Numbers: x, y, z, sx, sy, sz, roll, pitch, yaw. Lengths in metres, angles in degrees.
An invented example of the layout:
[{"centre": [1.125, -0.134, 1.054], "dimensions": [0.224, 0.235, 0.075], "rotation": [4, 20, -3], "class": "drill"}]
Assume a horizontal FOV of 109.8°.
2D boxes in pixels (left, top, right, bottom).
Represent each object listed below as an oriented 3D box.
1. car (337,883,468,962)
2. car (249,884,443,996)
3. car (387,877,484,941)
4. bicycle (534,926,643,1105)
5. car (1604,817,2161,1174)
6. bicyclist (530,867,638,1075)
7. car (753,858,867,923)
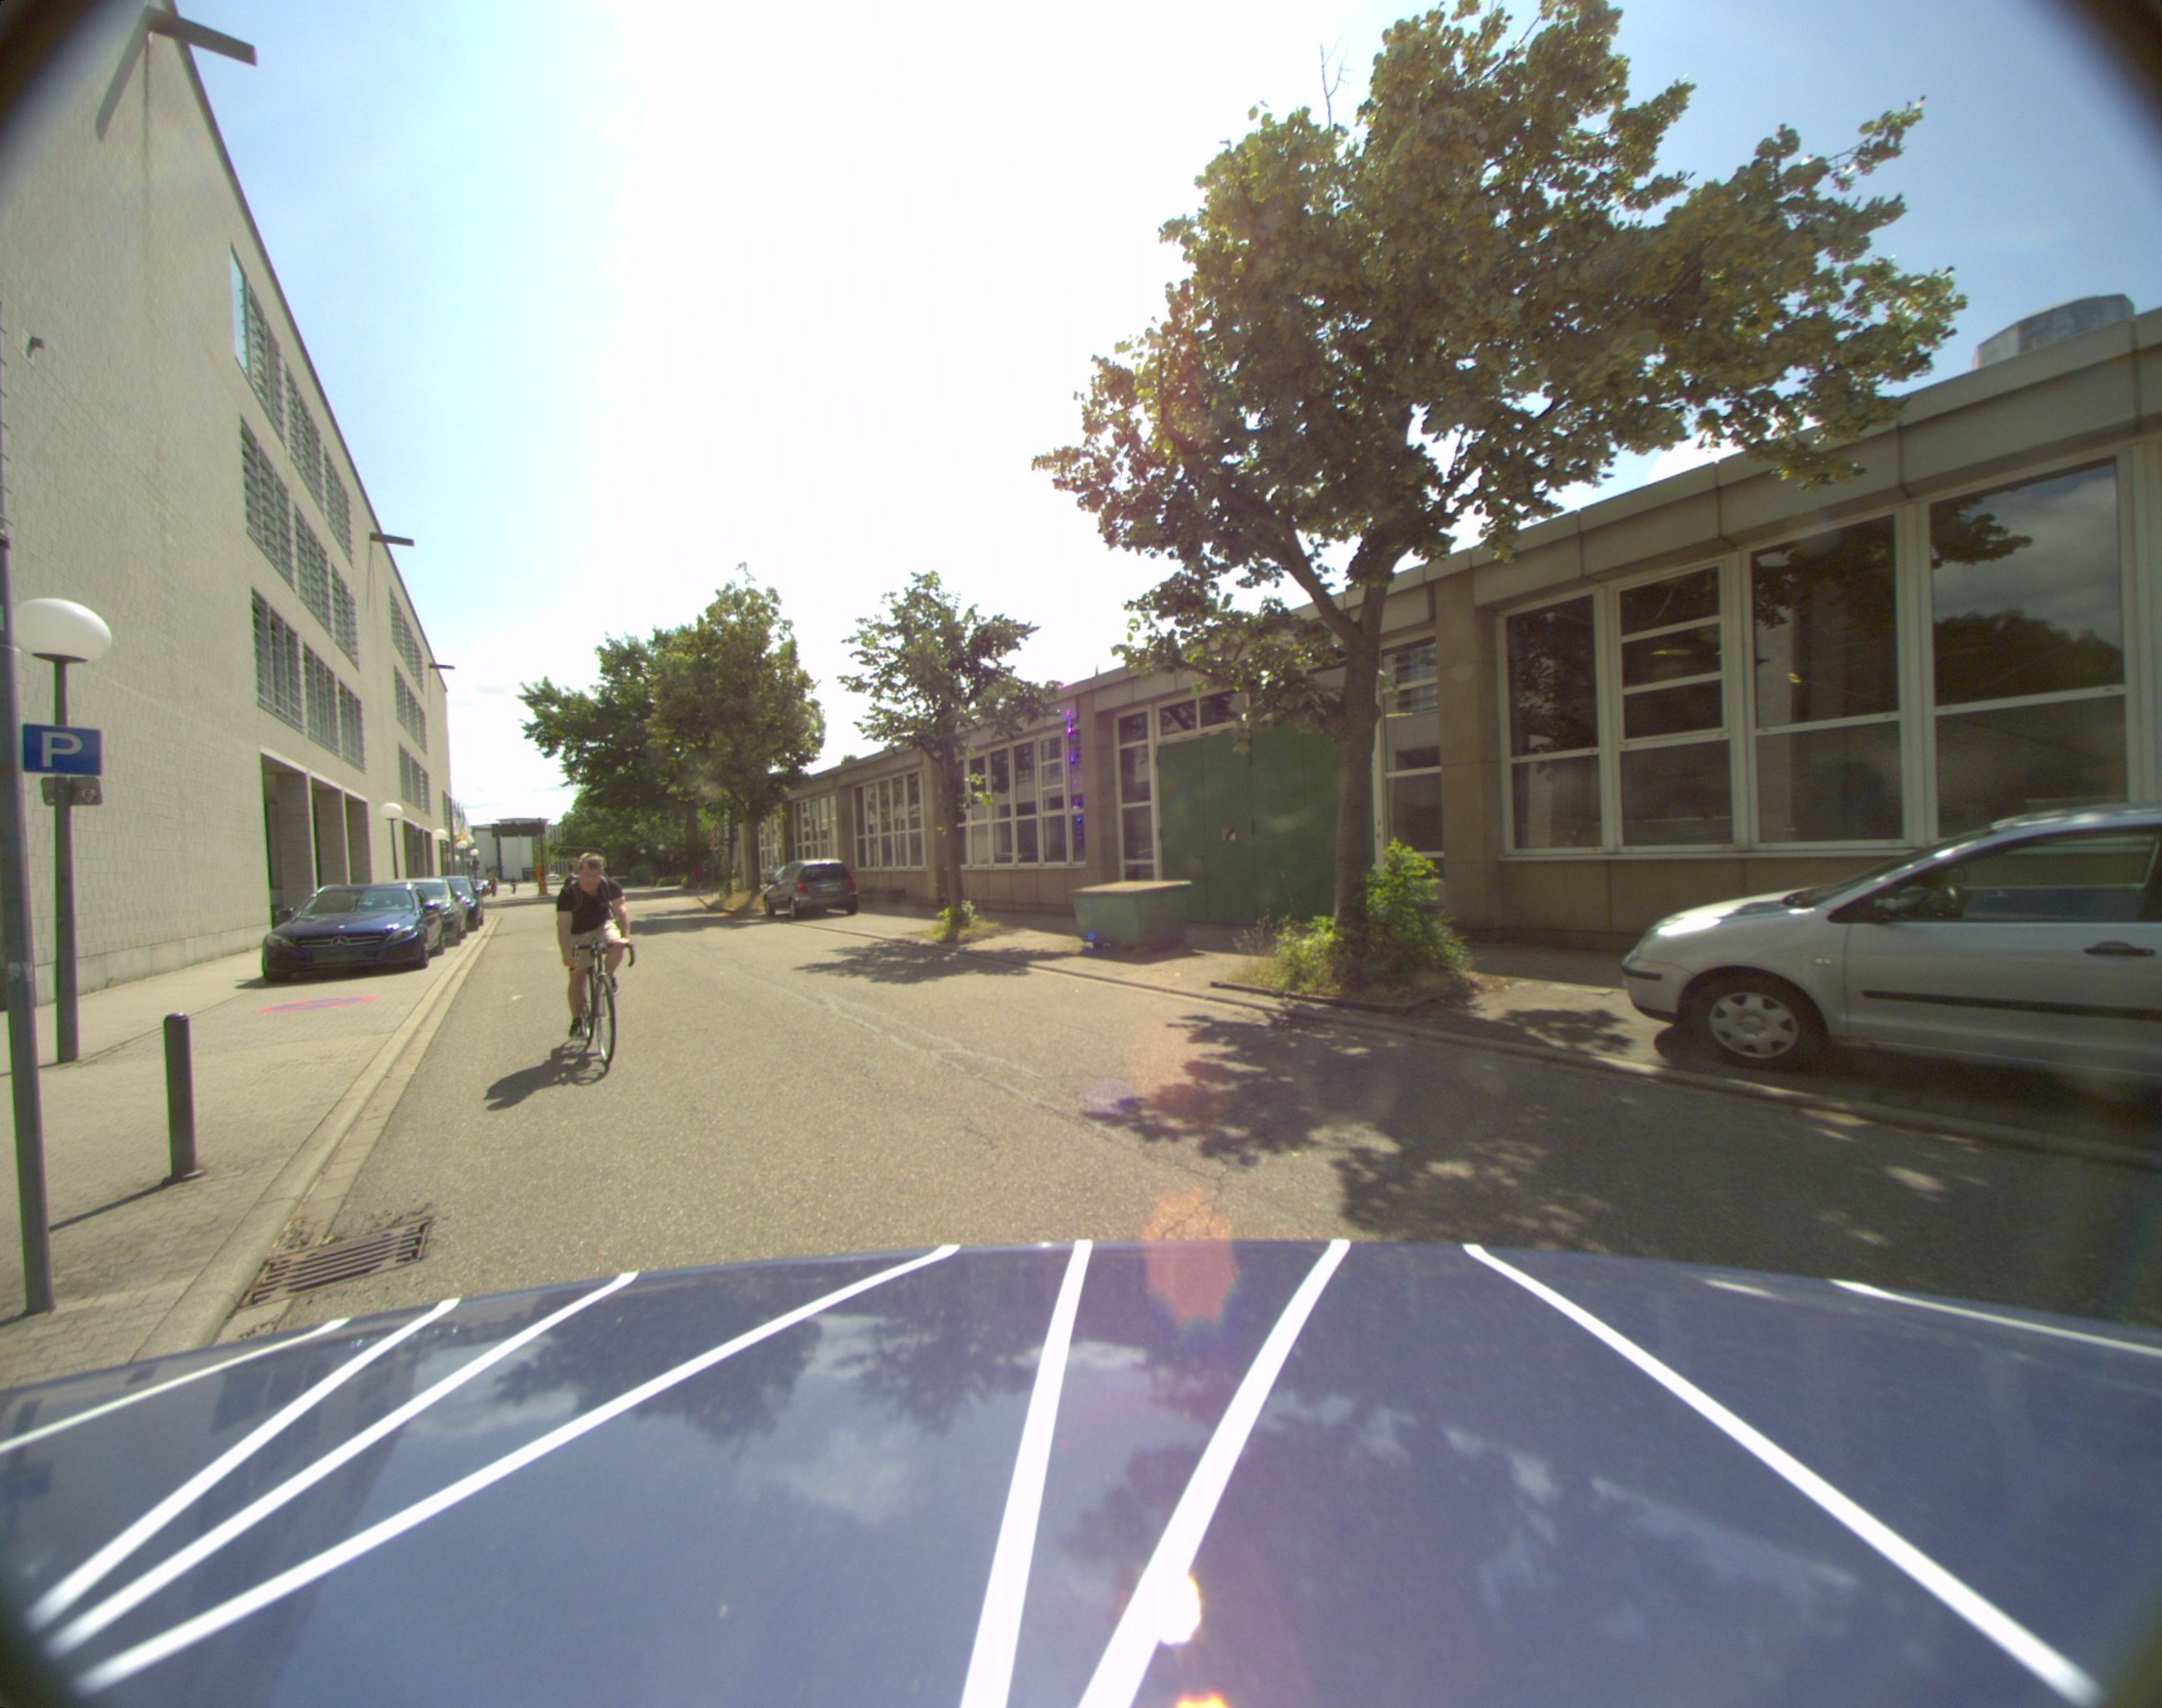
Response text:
[{"centre": [-15.496, 1.465, 17.560], "dimensions": [1.855, 1.467, 4.124], "rotation": [-3, 0, -37], "class": "car"}, {"centre": [-12.354, 1.312, 13.064], "dimensions": [1.855, 1.467, 4.124], "rotation": [-3, 0, -37], "class": "car"}, {"centre": [-18.780, 1.521, 22.266], "dimensions": [1.855, 1.572, 4.124], "rotation": [-3, 0, -37], "class": "car"}, {"centre": [-4.105, 1.235, 6.313], "dimensions": [0.606, 1.102, 1.826], "rotation": [-4, 1, -34], "class": "bicycle"}, {"centre": [5.204, 0.597, 3.890], "dimensions": [1.656, 1.468, 3.770], "rotation": [-6, 2, -36], "class": "car"}, {"centre": [-4.017, 0.884, 6.149], "dimensions": [0.606, 1.526, 0.726], "rotation": [-4, 2, -34], "class": "bicyclist"}, {"centre": [-7.909, 1.004, 21.979], "dimensions": [1.855, 1.569, 4.124], "rotation": [-5, 1, -37], "class": "car"}]
